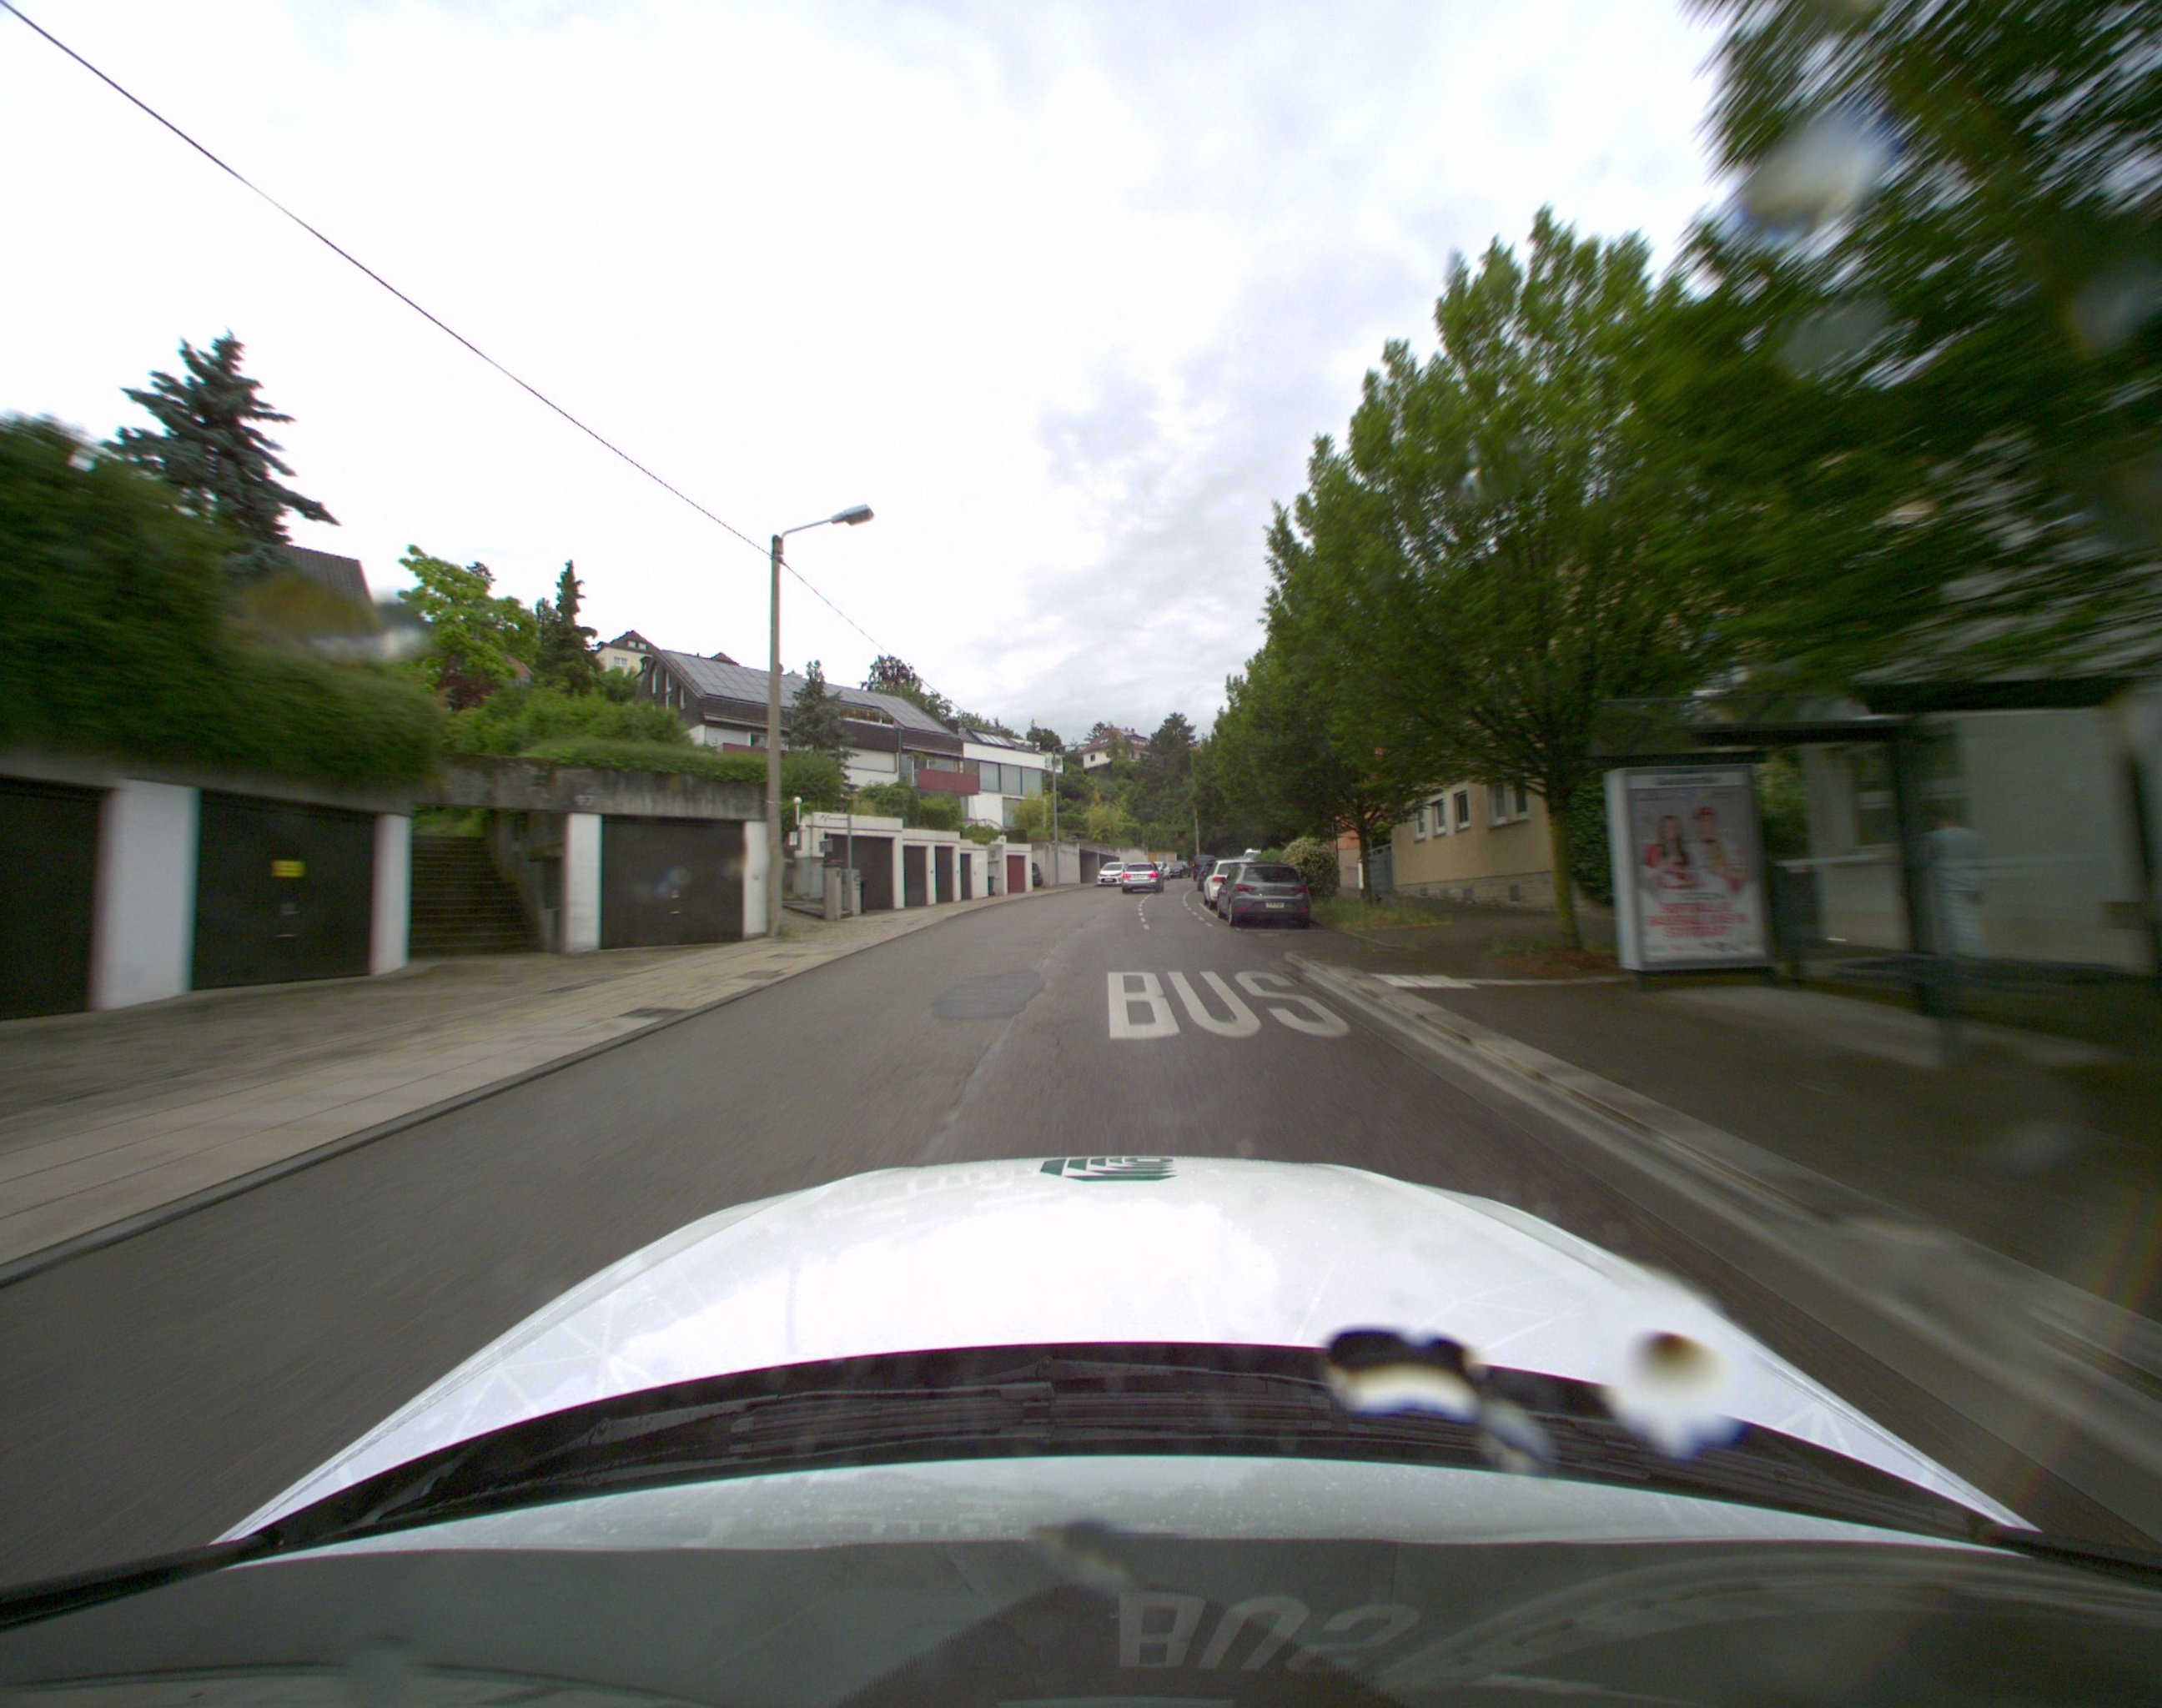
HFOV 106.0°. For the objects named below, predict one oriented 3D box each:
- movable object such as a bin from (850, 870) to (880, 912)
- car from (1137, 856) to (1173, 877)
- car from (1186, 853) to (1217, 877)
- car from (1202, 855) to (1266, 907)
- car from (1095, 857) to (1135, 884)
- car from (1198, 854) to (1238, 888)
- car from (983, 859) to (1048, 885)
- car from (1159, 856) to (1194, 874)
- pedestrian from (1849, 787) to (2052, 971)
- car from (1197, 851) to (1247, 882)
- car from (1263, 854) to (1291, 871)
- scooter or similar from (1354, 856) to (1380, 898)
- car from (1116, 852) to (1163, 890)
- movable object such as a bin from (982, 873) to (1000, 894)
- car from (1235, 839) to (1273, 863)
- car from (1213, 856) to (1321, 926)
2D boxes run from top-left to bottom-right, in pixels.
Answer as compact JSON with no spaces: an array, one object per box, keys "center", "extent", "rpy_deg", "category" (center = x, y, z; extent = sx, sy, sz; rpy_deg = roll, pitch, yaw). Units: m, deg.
[{"center":[-6.030,1.017,22.741],"extent":[0.604,1.146,0.522],"rpy_deg":[1,-2,-44],"category":"movable object such as a bin"},{"center":[5.759,0.941,63.097],"extent":[1.817,1.440,4.059],"rpy_deg":[-3,-1,19],"category":"car"},{"center":[9.012,0.788,60.620],"extent":[1.980,1.708,4.014],"rpy_deg":[-1,0,12],"category":"car"},{"center":[4.747,0.779,25.627],"extent":[1.648,1.489,4.007],"rpy_deg":[0,0,6],"category":"car"},{"center":[2.201,1.027,51.516],"extent":[1.615,1.516,3.848],"rpy_deg":[-2,0,16],"category":"car"},{"center":[6.962,0.817,41.157],"extent":[1.843,1.581,4.872],"rpy_deg":[-2,0,10],"category":"car"},{"center":[-4.045,1.050,49.918],"extent":[3.882,1.478,1.778],"rpy_deg":[0,1,43],"category":"car"},{"center":[8.169,0.908,69.280],"extent":[1.698,1.459,4.707],"rpy_deg":[-2,-1,22],"category":"car"},{"center":[8.761,0.237,8.267],"extent":[0.829,1.686,1.046],"rpy_deg":[-5,0,3],"category":"pedestrian"},{"center":[8.241,0.683,47.123],"extent":[2.037,1.656,5.260],"rpy_deg":[-2,0,18],"category":"car"},{"center":[17.600,0.707,73.058],"extent":[1.653,1.471,3.732],"rpy_deg":[0,0,26],"category":"car"},{"center":[8.677,0.678,24.730],"extent":[0.411,1.245,1.177],"rpy_deg":[-2,0,5],"category":"scooter or similar"},{"center":[2.884,0.791,39.120],"extent":[2.014,1.708,4.223],"rpy_deg":[-1,0,7],"category":"car"},{"center":[-4.223,1.367,38.336],"extent":[0.537,0.963,0.650],"rpy_deg":[-1,0,41],"category":"movable object such as a bin"},{"center":[19.722,-0.372,92.570],"extent":[2.074,2.550,6.136],"rpy_deg":[-3,0,33],"category":"car"},{"center":[4.300,0.798,19.509],"extent":[1.869,1.416,4.473],"rpy_deg":[-1,0,4],"category":"car"}]
